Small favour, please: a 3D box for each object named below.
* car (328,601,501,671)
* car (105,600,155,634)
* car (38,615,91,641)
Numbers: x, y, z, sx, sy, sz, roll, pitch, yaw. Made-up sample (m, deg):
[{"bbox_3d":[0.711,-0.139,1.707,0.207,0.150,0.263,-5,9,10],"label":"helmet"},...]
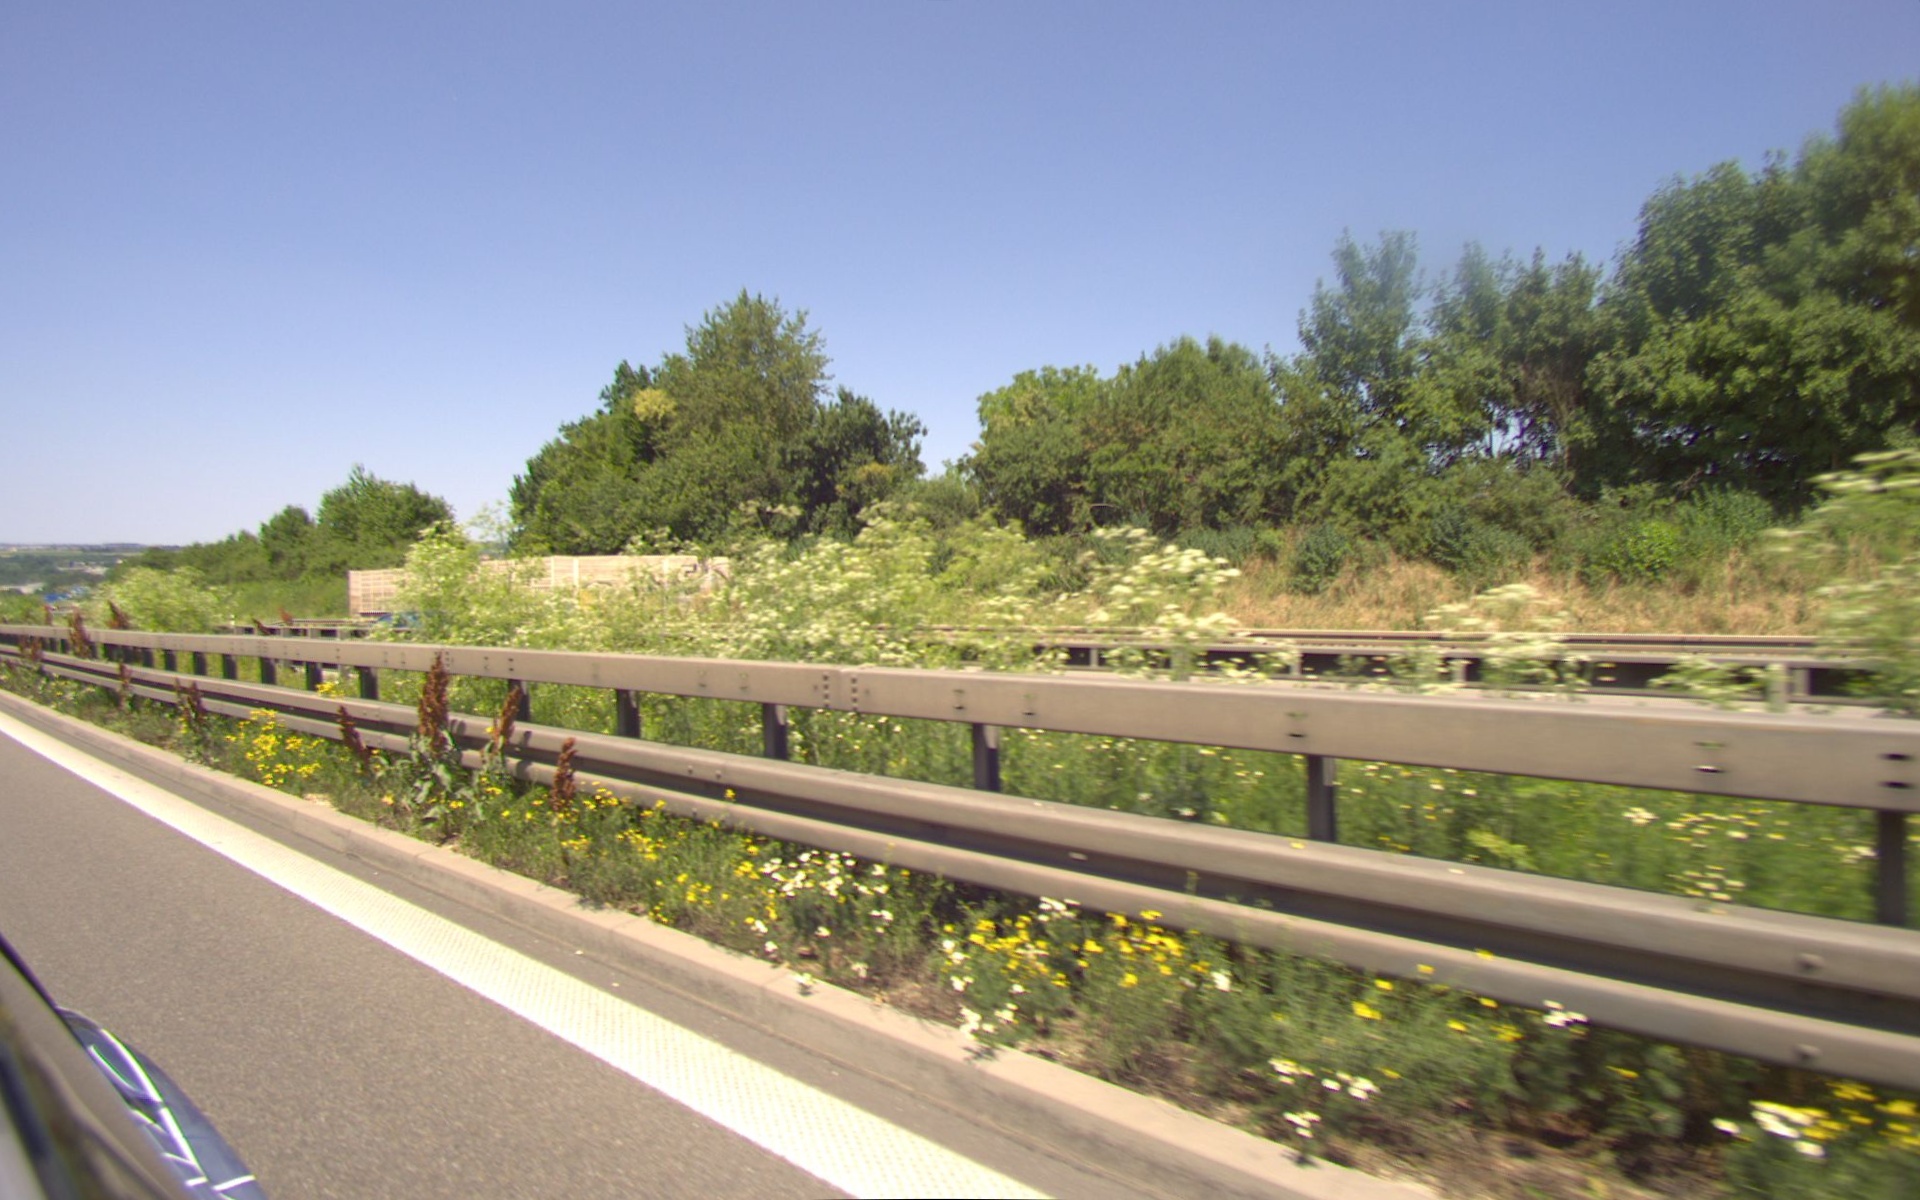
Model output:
[{"bbox_3d":[-12.208,0.745,22.527,4.665,1.363,1.840,-1,0,41],"label":"car"},{"bbox_3d":[-51.056,1.019,62.258,3.999,2.029,1.829,-1,0,42],"label":"car"},{"bbox_3d":[-52.211,1.617,58.996,4.488,1.438,1.816,-1,0,42],"label":"car"}]
